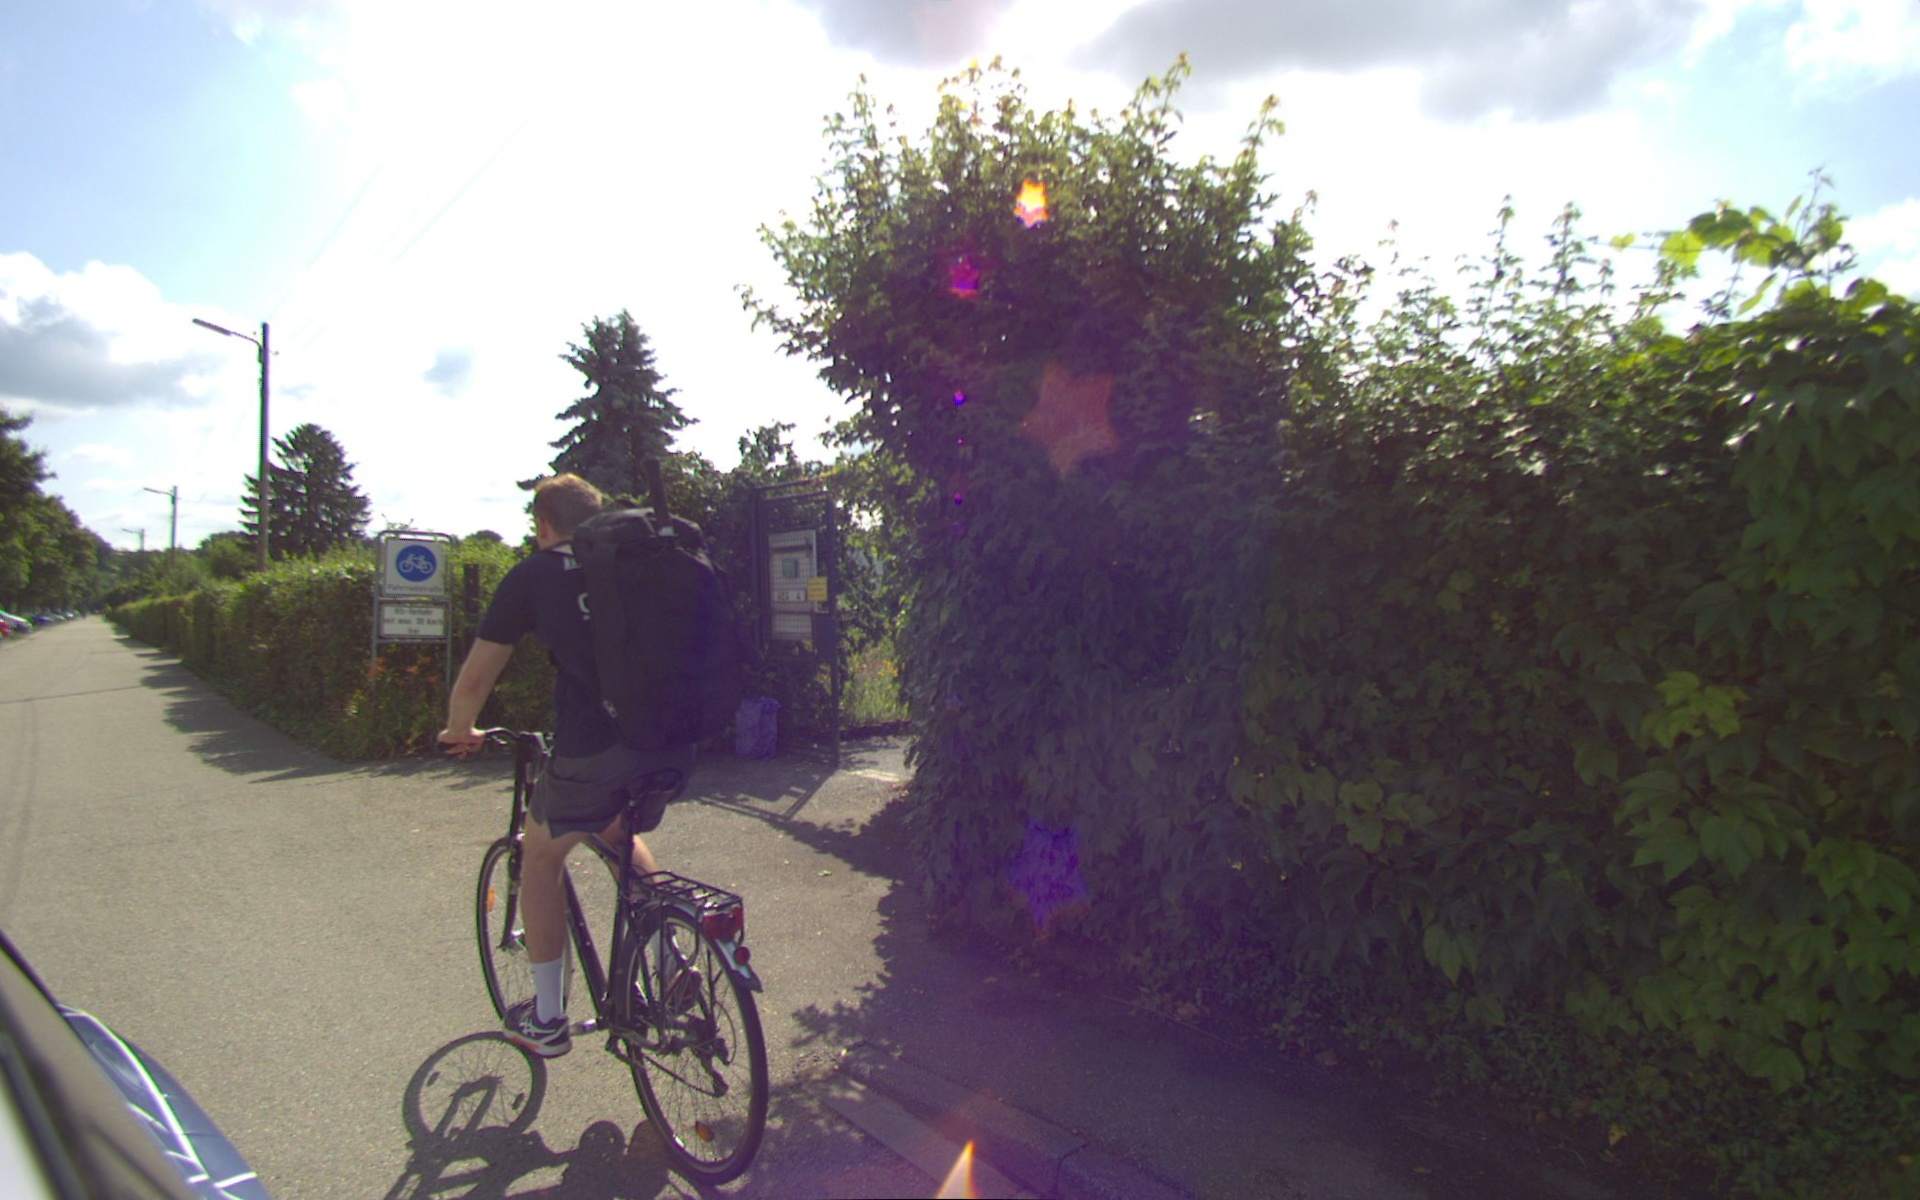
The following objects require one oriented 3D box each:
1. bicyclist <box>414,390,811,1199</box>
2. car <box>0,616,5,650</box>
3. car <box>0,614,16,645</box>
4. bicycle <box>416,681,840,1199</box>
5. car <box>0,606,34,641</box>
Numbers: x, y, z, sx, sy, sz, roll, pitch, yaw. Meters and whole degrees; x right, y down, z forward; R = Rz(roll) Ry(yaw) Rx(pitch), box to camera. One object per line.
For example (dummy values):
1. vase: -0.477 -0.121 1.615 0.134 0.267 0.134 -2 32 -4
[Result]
1. bicyclist: -0.940 0.520 2.627 0.650 1.866 1.045 1 -1 -38
2. car: -43.898 1.512 43.447 4.190 1.439 1.910 -3 1 -45
3. car: -48.603 1.513 48.943 4.131 1.515 1.881 -2 1 -40
4. bicycle: -1.035 0.865 2.804 0.511 1.159 1.830 1 -1 -38
5. car: -53.411 1.285 54.918 4.578 1.901 2.114 1 -1 -42
